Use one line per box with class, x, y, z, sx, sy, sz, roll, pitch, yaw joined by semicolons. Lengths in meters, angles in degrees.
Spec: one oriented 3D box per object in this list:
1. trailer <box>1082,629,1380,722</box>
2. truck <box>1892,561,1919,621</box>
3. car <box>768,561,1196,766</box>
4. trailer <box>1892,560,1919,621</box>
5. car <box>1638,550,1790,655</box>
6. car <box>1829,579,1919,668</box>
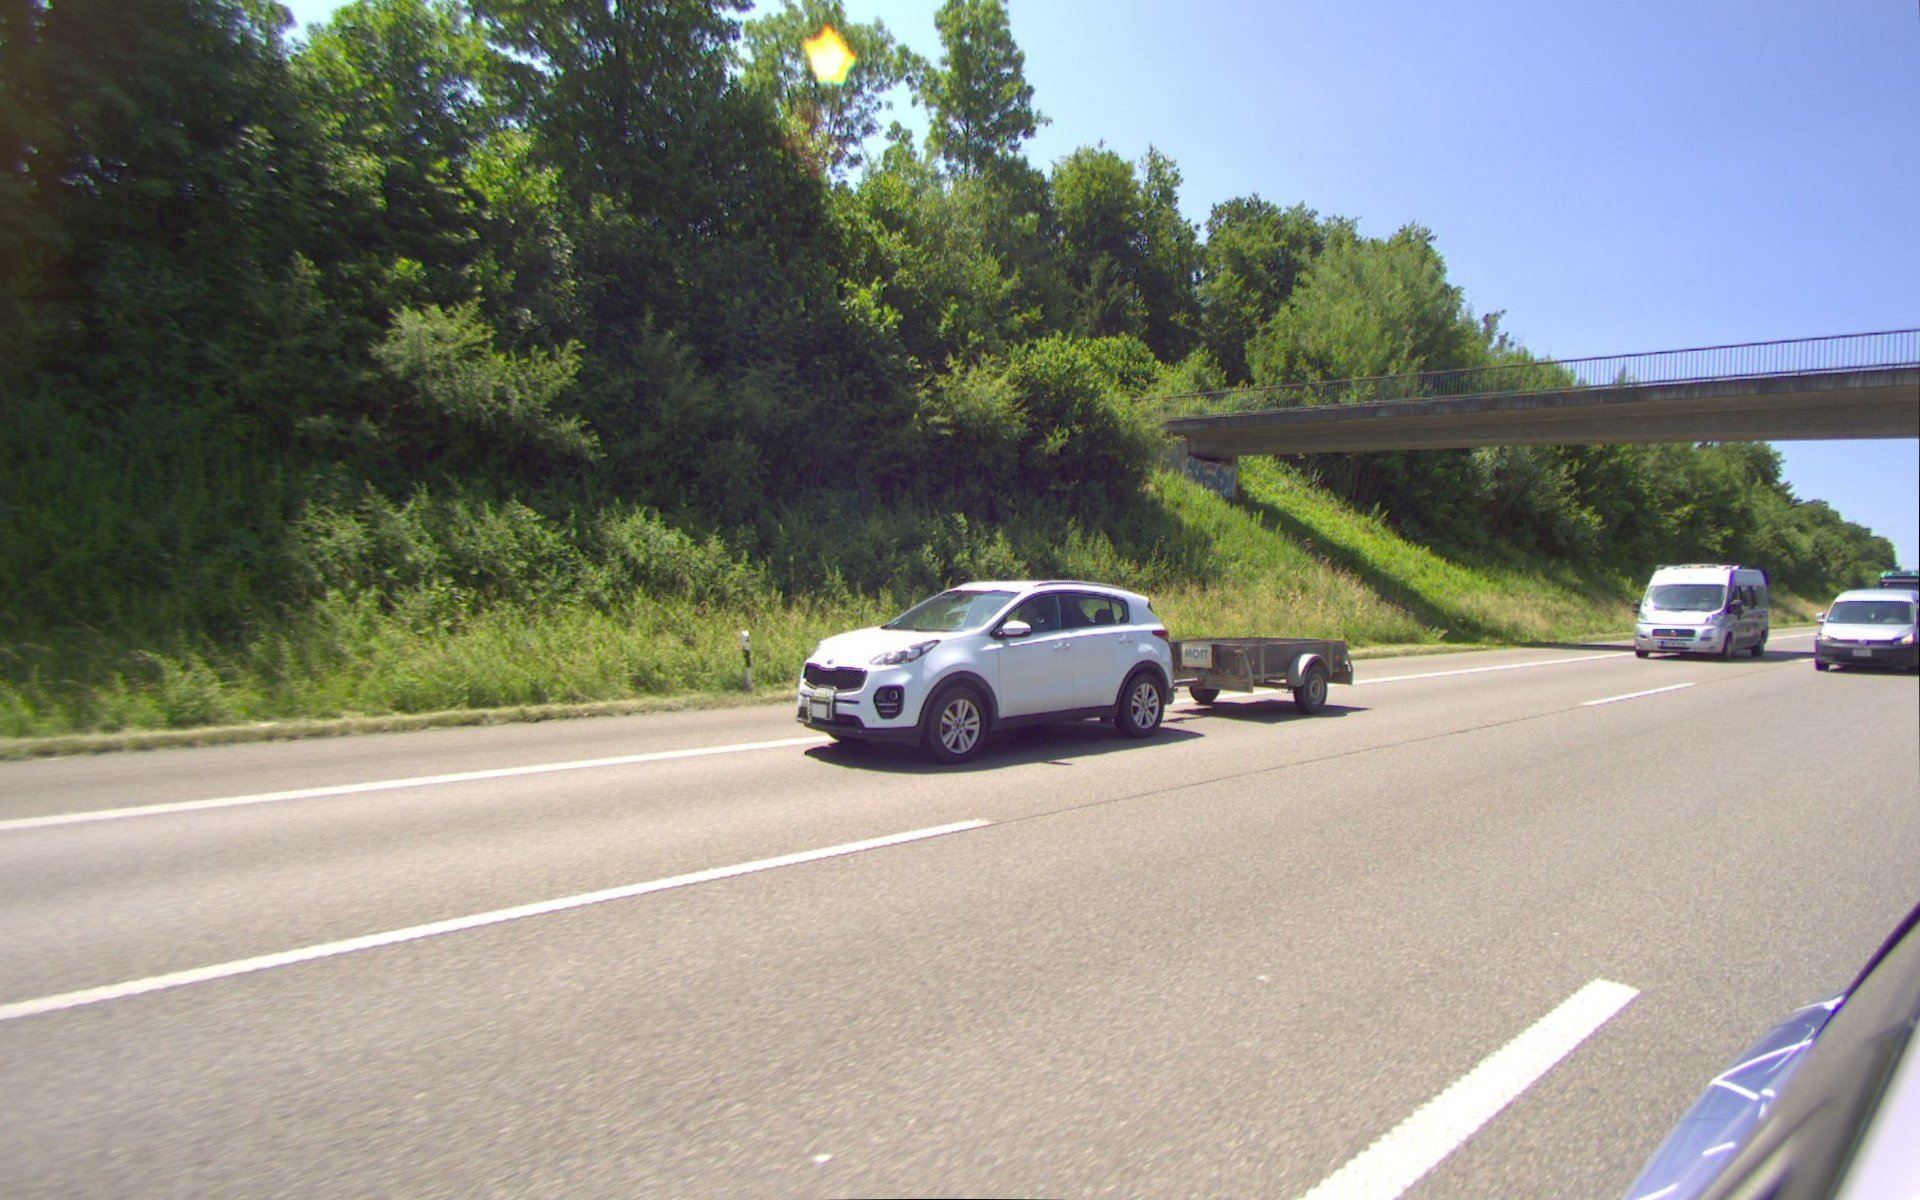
trailer;3.668;0.889;13.282;4.245;0.920;1.757;0;0;-42
truck;64.224;-0.542;67.795;2.510;3.891;4.812;0;-1;45
car;0.389;0.555;10.374;4.326;1.672;1.784;2;-1;-42
trailer;68.129;-0.538;71.595;10.294;4.079;2.589;2;-1;-44
car;20.981;0.118;28.020;6.506;2.609;2.093;2;-1;-41
car;21.298;0.487;23.143;4.721;1.853;1.747;0;0;-44
